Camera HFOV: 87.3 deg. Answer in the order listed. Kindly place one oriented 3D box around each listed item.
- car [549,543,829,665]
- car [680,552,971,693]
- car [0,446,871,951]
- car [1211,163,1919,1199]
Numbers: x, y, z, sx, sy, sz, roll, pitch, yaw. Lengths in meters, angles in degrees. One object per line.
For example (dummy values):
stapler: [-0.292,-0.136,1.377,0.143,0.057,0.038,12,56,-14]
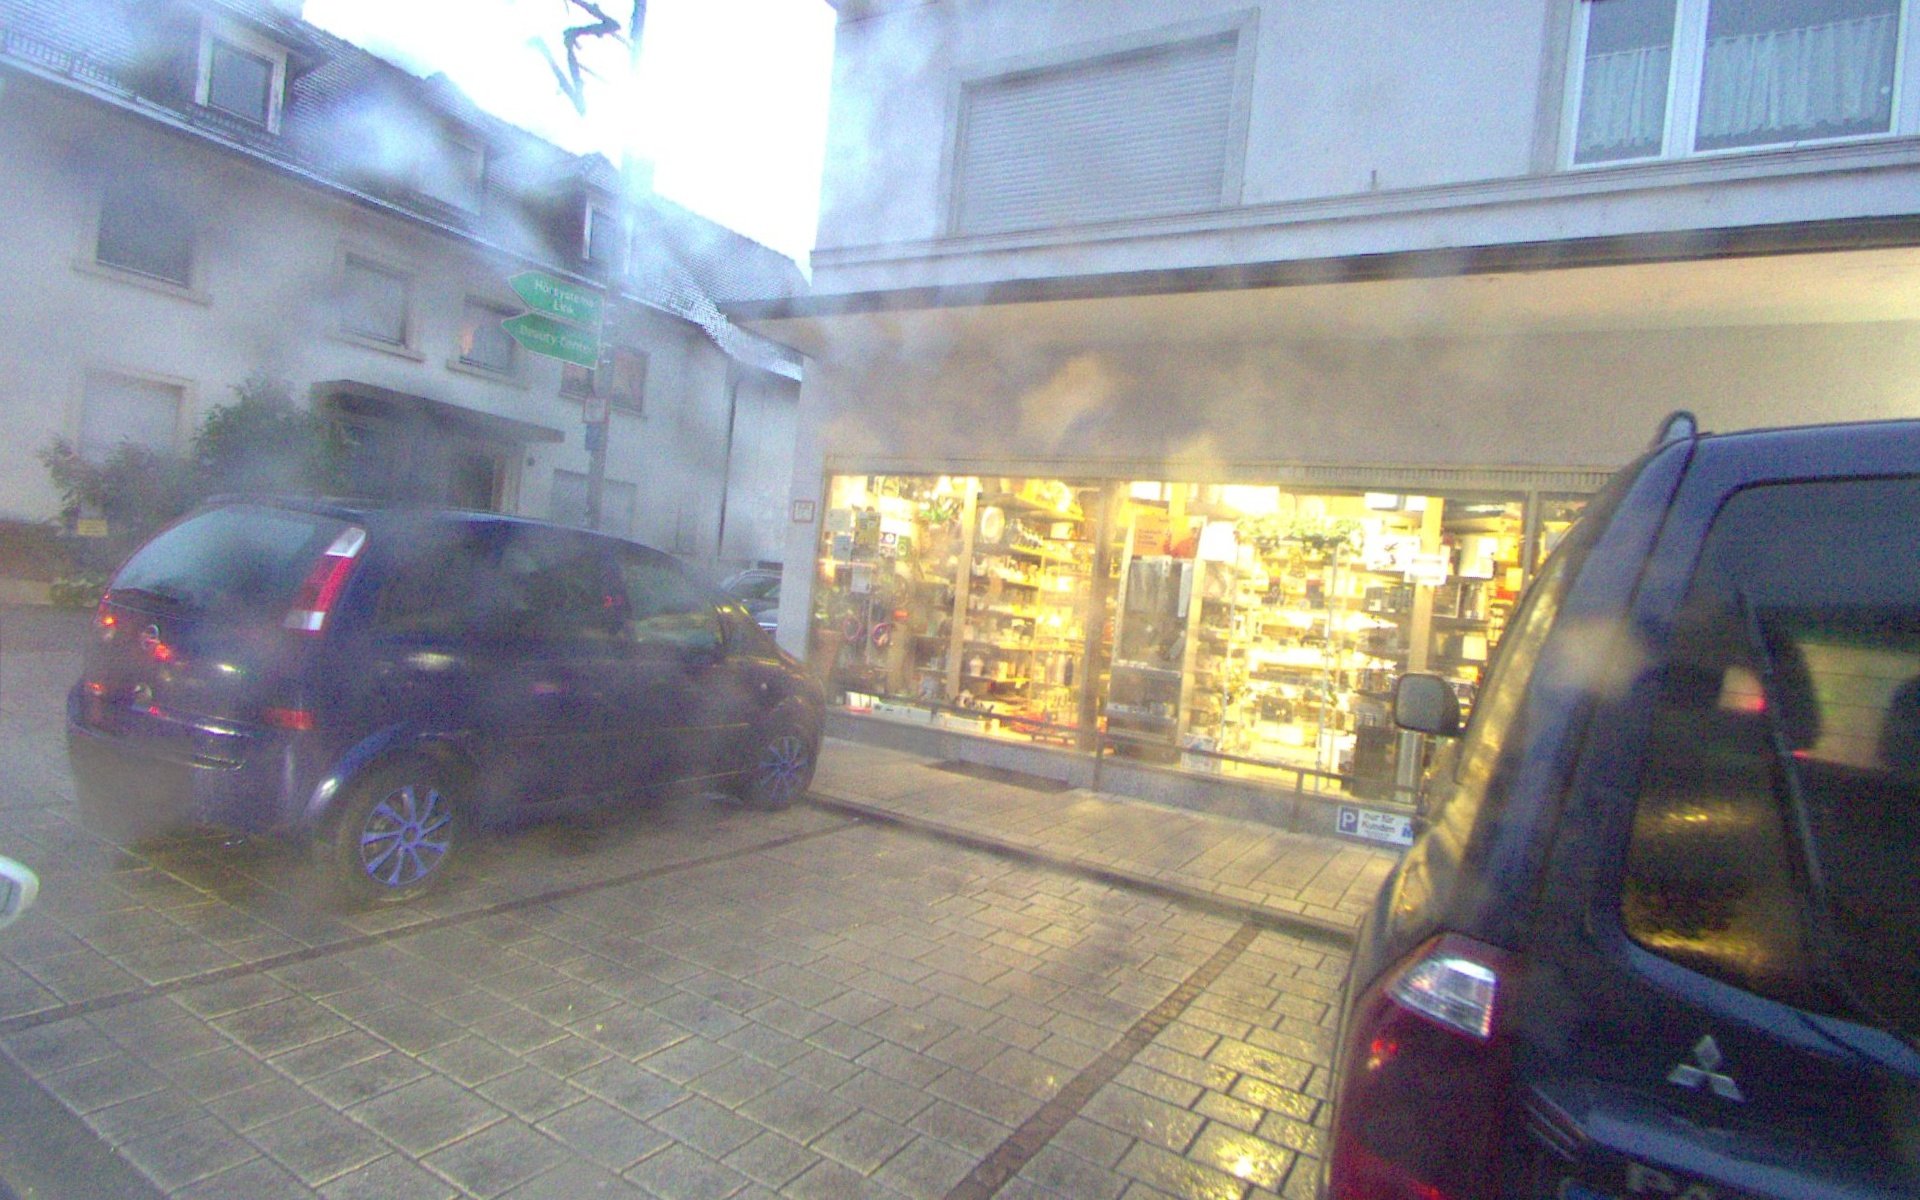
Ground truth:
car: [-4.173,0.137,16.074,1.905,1.543,3.989,6,0,33]
car: [-1.761,0.367,14.431,1.967,1.590,3.991,6,0,31]
car: [-2.265,0.368,5.383,1.652,1.599,3.877,7,0,26]
car: [2.084,0.796,2.453,1.911,1.798,4.612,7,1,27]
